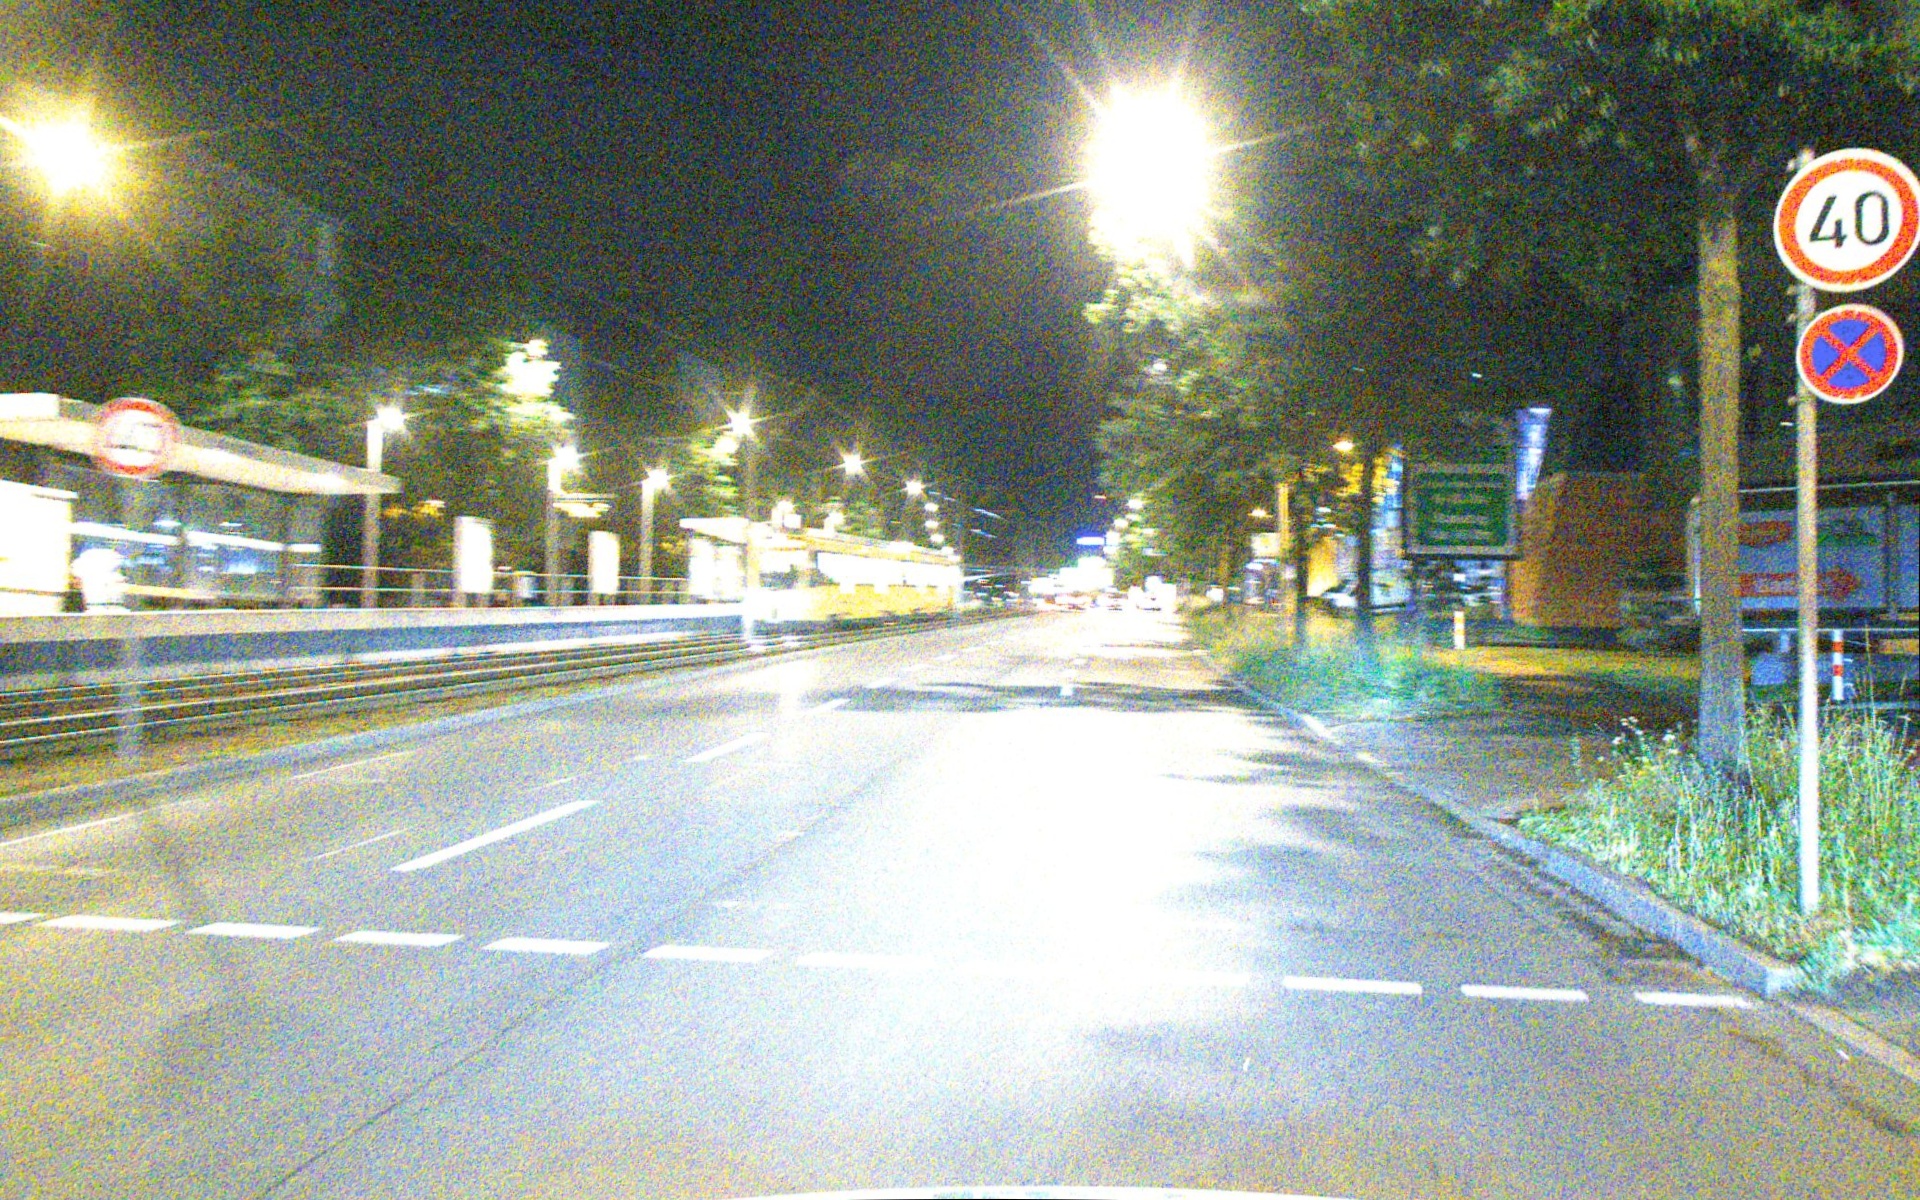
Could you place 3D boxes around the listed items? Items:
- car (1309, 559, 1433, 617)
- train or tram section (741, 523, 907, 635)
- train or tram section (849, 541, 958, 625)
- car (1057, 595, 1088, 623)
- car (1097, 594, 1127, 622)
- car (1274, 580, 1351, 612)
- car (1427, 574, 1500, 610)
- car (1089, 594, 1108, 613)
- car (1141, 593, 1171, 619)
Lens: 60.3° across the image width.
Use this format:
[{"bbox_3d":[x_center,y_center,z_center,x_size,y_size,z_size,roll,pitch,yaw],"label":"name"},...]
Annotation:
[{"bbox_3d":[21.946,-0.643,88.389,5.910,2.573,2.278,-5,1,-11],"label":"car"},{"bbox_3d":[-5.116,-0.775,68.001,2.680,3.913,19.379,1,0,8],"label":"train or tram section"},{"bbox_3d":[-2.667,-0.833,86.902,2.700,3.894,18.685,1,0,7],"label":"train or tram section"},{"bbox_3d":[8.694,0.698,127.056,2.215,2.049,4.829,1,0,6],"label":"car"},{"bbox_3d":[12.152,0.662,132.384,2.306,2.166,4.829,1,0,6],"label":"car"},{"bbox_3d":[22.598,-0.277,106.196,4.374,1.716,1.998,-4,1,-5],"label":"car"},{"bbox_3d":[26.768,-0.410,88.057,1.776,1.742,3.950,-3,0,-16],"label":"car"},{"bbox_3d":[14.470,0.346,172.878,1.847,1.892,4.003,1,0,6],"label":"car"},{"bbox_3d":[16.438,0.517,138.761,2.376,2.150,4.829,1,0,6],"label":"car"}]
